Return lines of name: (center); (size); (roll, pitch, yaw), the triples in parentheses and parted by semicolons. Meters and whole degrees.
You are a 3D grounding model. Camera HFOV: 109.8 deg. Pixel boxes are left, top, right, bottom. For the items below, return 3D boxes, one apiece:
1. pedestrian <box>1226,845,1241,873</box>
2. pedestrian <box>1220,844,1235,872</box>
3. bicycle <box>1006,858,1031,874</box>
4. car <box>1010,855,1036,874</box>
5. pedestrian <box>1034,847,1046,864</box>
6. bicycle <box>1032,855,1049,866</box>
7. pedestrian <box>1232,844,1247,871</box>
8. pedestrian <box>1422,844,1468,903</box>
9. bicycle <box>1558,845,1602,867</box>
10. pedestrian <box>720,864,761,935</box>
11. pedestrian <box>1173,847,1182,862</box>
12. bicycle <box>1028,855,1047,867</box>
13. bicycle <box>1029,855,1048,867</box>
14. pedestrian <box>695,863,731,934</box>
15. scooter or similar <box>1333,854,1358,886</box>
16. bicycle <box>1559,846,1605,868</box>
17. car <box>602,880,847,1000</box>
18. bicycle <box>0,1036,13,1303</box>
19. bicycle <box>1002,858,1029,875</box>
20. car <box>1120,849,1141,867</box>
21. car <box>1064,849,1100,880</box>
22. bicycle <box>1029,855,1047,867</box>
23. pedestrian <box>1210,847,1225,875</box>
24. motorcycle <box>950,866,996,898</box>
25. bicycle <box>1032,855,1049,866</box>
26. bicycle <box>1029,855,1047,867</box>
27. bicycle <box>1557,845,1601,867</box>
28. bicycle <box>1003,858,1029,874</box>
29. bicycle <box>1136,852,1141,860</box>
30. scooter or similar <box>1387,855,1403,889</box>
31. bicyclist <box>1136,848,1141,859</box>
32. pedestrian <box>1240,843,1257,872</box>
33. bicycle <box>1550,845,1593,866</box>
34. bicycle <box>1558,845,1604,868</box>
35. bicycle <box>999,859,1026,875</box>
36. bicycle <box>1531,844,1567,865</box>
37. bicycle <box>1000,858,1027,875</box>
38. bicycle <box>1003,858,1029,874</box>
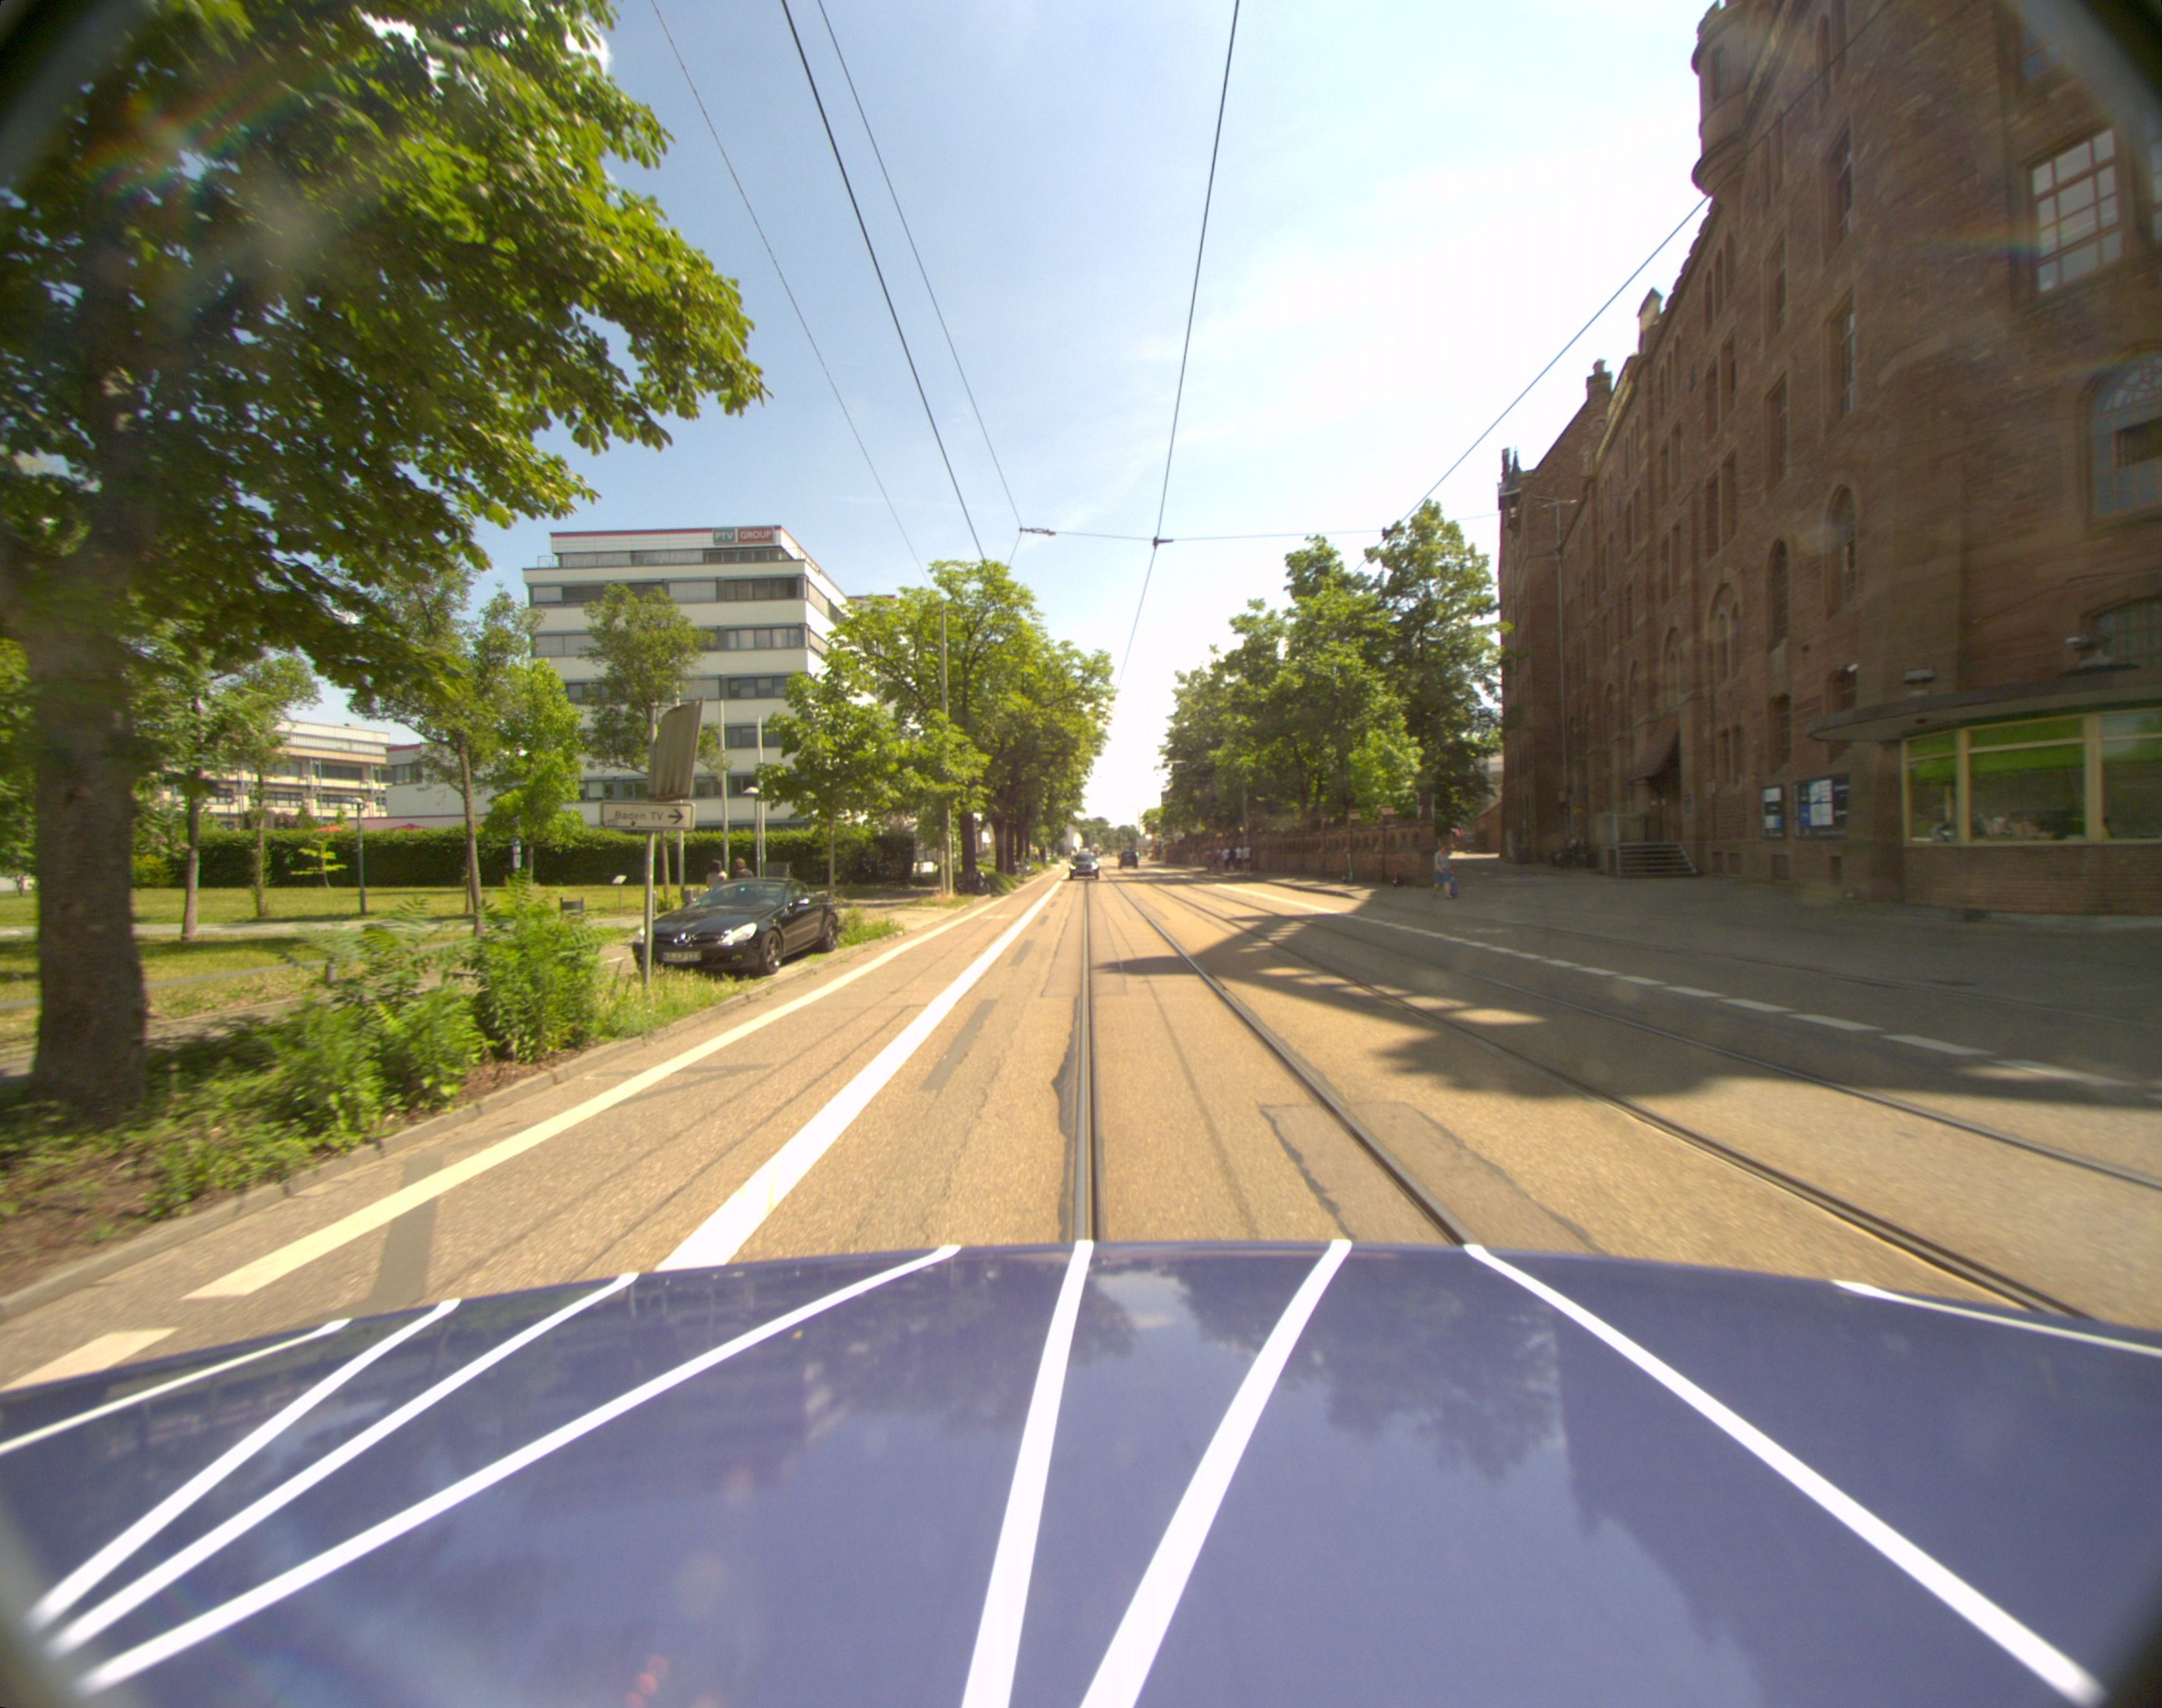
pedestrian: (9.816, 0.339, 48.856); (0.679, 1.738, 0.919); (-5, 1, 0)
pedestrian: (9.835, 0.272, 50.952); (0.679, 1.780, 0.919); (-5, 1, 0)
bicycle: (-4.546, 0.851, 55.284); (1.813, 1.105, 0.514); (-1, 1, -3)
car: (-4.611, 0.823, 60.727); (1.681, 1.458, 4.634); (-1, 0, 0)
pedestrian: (-4.563, 0.199, 83.999); (0.986, 1.822, 0.786); (-3, 1, -43)
bicycle: (-4.512, 0.693, 85.109); (1.819, 1.158, 0.710); (-2, 1, -7)
pedestrian: (10.680, 0.215, 51.207); (0.679, 1.766, 0.919); (-5, 1, 0)
pedestrian: (10.443, 0.552, 21.834); (0.801, 1.580, 0.919); (-5, 2, 0)
bicycle: (24.751, 0.102, 37.692); (1.779, 0.988, 0.493); (-3, 1, 35)
pedestrian: (-7.654, 1.003, 17.085); (0.620, 1.564, 0.610); (0, 1, 1)
pedestrian: (11.275, 0.028, 88.682); (0.750, 1.738, 0.919); (-4, 1, 0)
bicycle: (-4.426, 0.752, 76.958); (1.846, 1.105, 0.569); (-3, 1, -3)
bicycle: (-4.378, 0.726, 78.270); (1.813, 1.105, 0.569); (-3, 1, -3)
pedestrian: (-8.299, 0.998, 17.153); (0.514, 1.564, 0.544); (0, 1, 1)
scooter or similar: (10.307, 0.621, 29.600); (0.348, 1.120, 1.227); (-2, 2, 44)
bicycle: (23.792, 0.157, 36.094); (1.779, 0.988, 0.493); (-3, 1, 35)
car: (-5.049, 1.139, 11.418); (1.756, 1.263, 3.833); (-3, 0, 1)
bicycle: (-5.102, 1.279, 2.758); (1.589, 1.054, 0.562); (-2, 1, -1)
bicycle: (-4.619, 0.865, 53.355); (1.814, 1.105, 0.489); (-1, 1, -13)
car: (5.090, 0.427, 79.029); (1.909, 1.778, 4.255); (-1, 0, 0)
car: (0.076, 0.599, 46.637); (1.998, 1.732, 4.226); (-3, 0, 0)
bicycle: (-4.443, 0.740, 78.838); (1.813, 1.105, 0.569); (-3, 1, -3)
pedestrian: (9.105, 0.445, 50.581); (0.723, 1.781, 0.919); (-5, 1, 0)
motorcycle: (-4.429, 1.126, 31.067); (2.056, 1.206, 0.614); (0, 2, 40)
bicycle: (-4.429, 0.696, 83.802); (1.819, 1.158, 0.710); (-2, 1, -7)
bicycle: (-4.548, 0.742, 79.922); (1.813, 1.105, 0.569); (-3, 1, -3)
bicycle: (24.397, 0.110, 37.223); (1.779, 0.988, 0.493); (-3, 1, 35)
bicycle: (-4.617, 0.872, 54.013); (1.813, 1.105, 0.533); (-1, 1, -8)
bicycle: (8.730, 0.328, 115.216); (0.661, 1.156, 1.895); (0, 0, 0)
scooter or similar: (10.803, 0.609, 26.138); (0.328, 1.120, 1.225); (-2, 1, 29)
bicyclist: (8.742, -0.088, 115.144); (0.665, 1.616, 0.919); (0, 1, 0)
pedestrian: (10.697, 0.214, 48.666); (0.754, 1.766, 0.919); (-5, 1, 0)
bicycle: (24.958, 0.068, 38.665); (1.779, 0.988, 0.493); (-3, 1, 33)
bicycle: (24.093, 0.129, 36.619); (1.779, 0.988, 0.493); (-3, 1, 35)
bicycle: (-4.646, 0.875, 51.652); (1.812, 1.105, 0.449); (-1, 1, -2)
bicycle: (25.094, 0.030, 40.723); (1.784, 0.988, 0.492); (-3, 1, -13)
bicycle: (-4.655, 0.874, 52.083); (1.813, 1.105, 0.395); (-1, 1, -3)
bicycle: (-4.683, 0.867, 54.632); (1.813, 1.105, 0.535); (-1, 1, -8)
